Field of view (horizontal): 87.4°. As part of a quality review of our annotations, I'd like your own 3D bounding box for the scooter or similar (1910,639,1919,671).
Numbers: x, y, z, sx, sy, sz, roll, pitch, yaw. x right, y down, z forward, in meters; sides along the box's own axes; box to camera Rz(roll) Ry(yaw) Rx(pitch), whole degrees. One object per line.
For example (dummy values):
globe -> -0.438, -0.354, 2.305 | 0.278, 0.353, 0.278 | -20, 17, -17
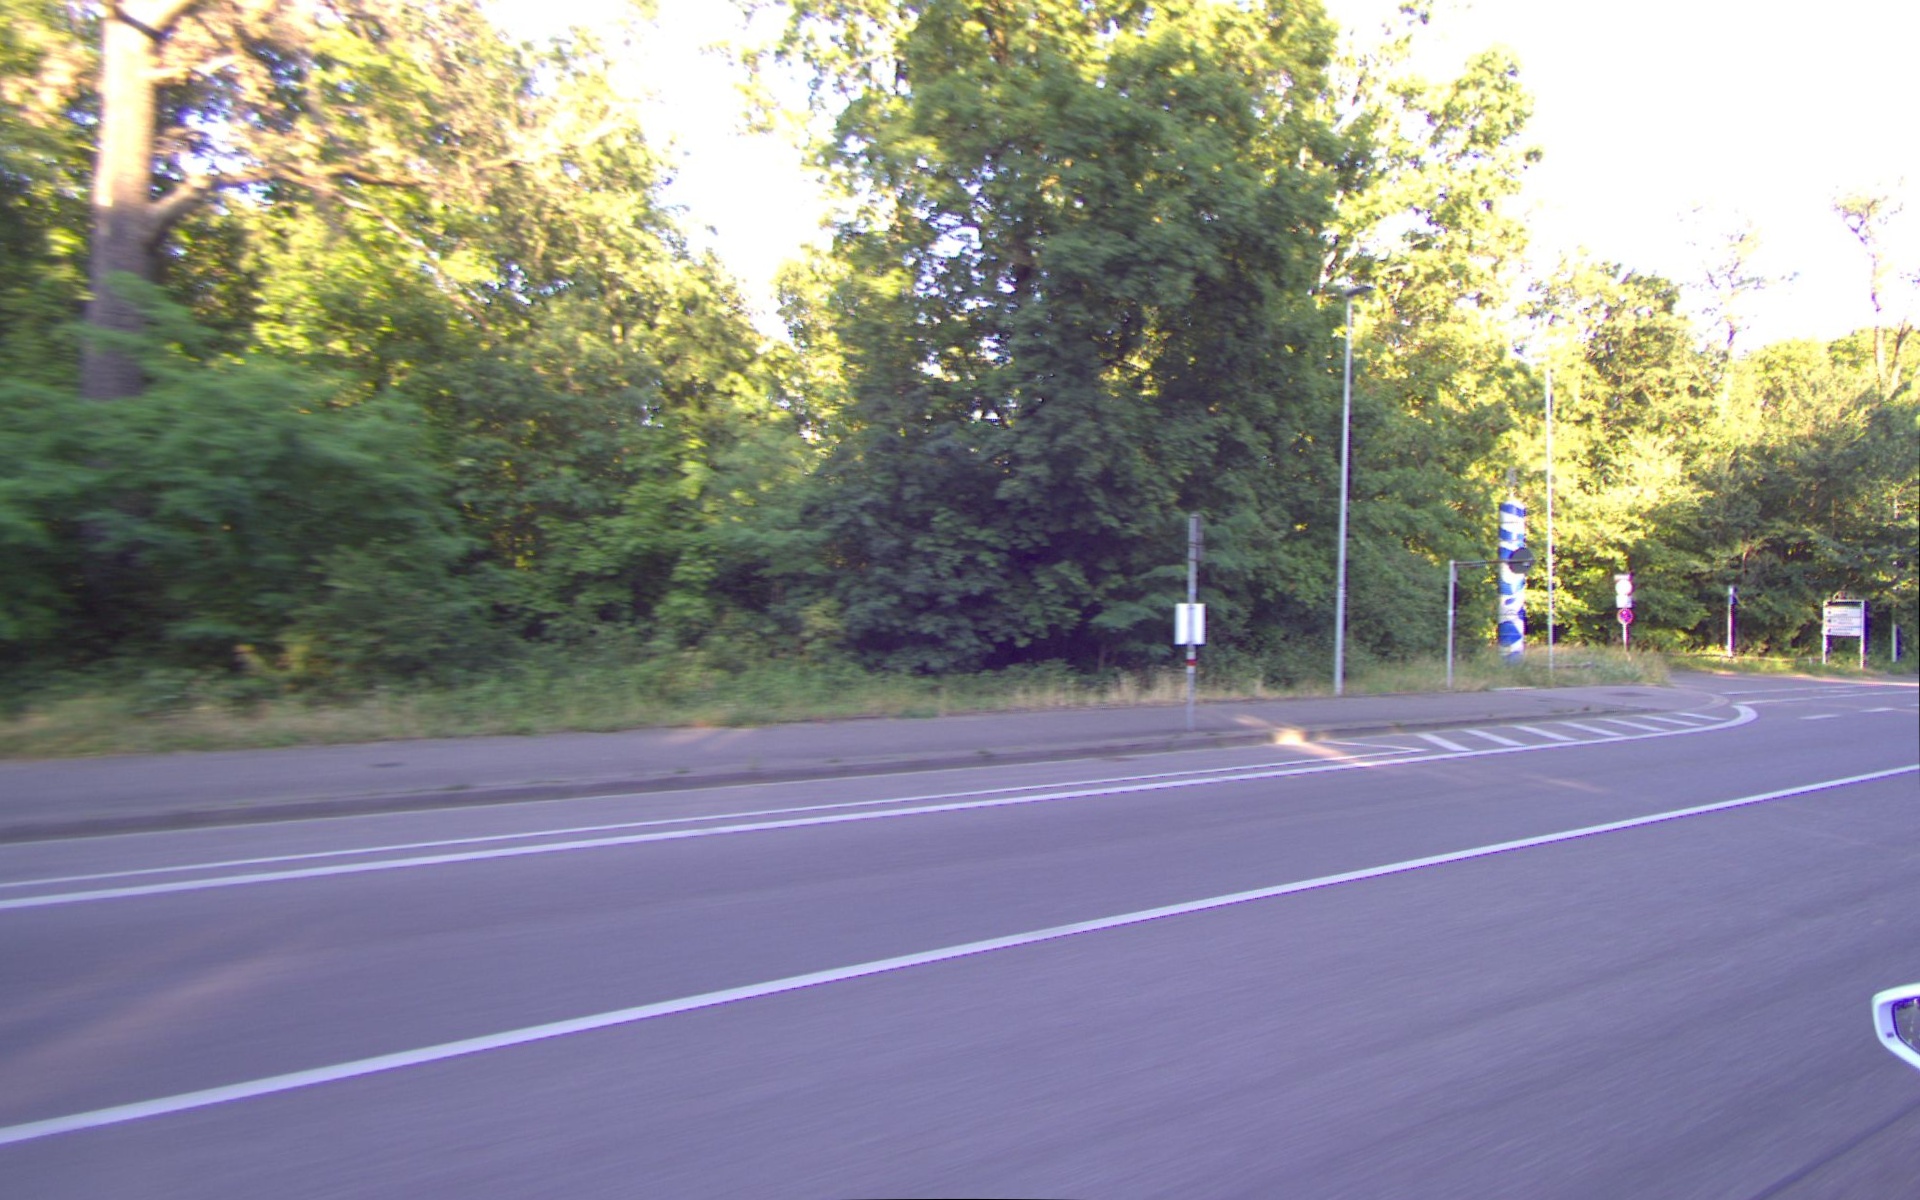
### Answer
scooter or similar -> 34.877, 1.995, 36.208 | 0.862, 1.124, 0.362 | 0, -1, 12
